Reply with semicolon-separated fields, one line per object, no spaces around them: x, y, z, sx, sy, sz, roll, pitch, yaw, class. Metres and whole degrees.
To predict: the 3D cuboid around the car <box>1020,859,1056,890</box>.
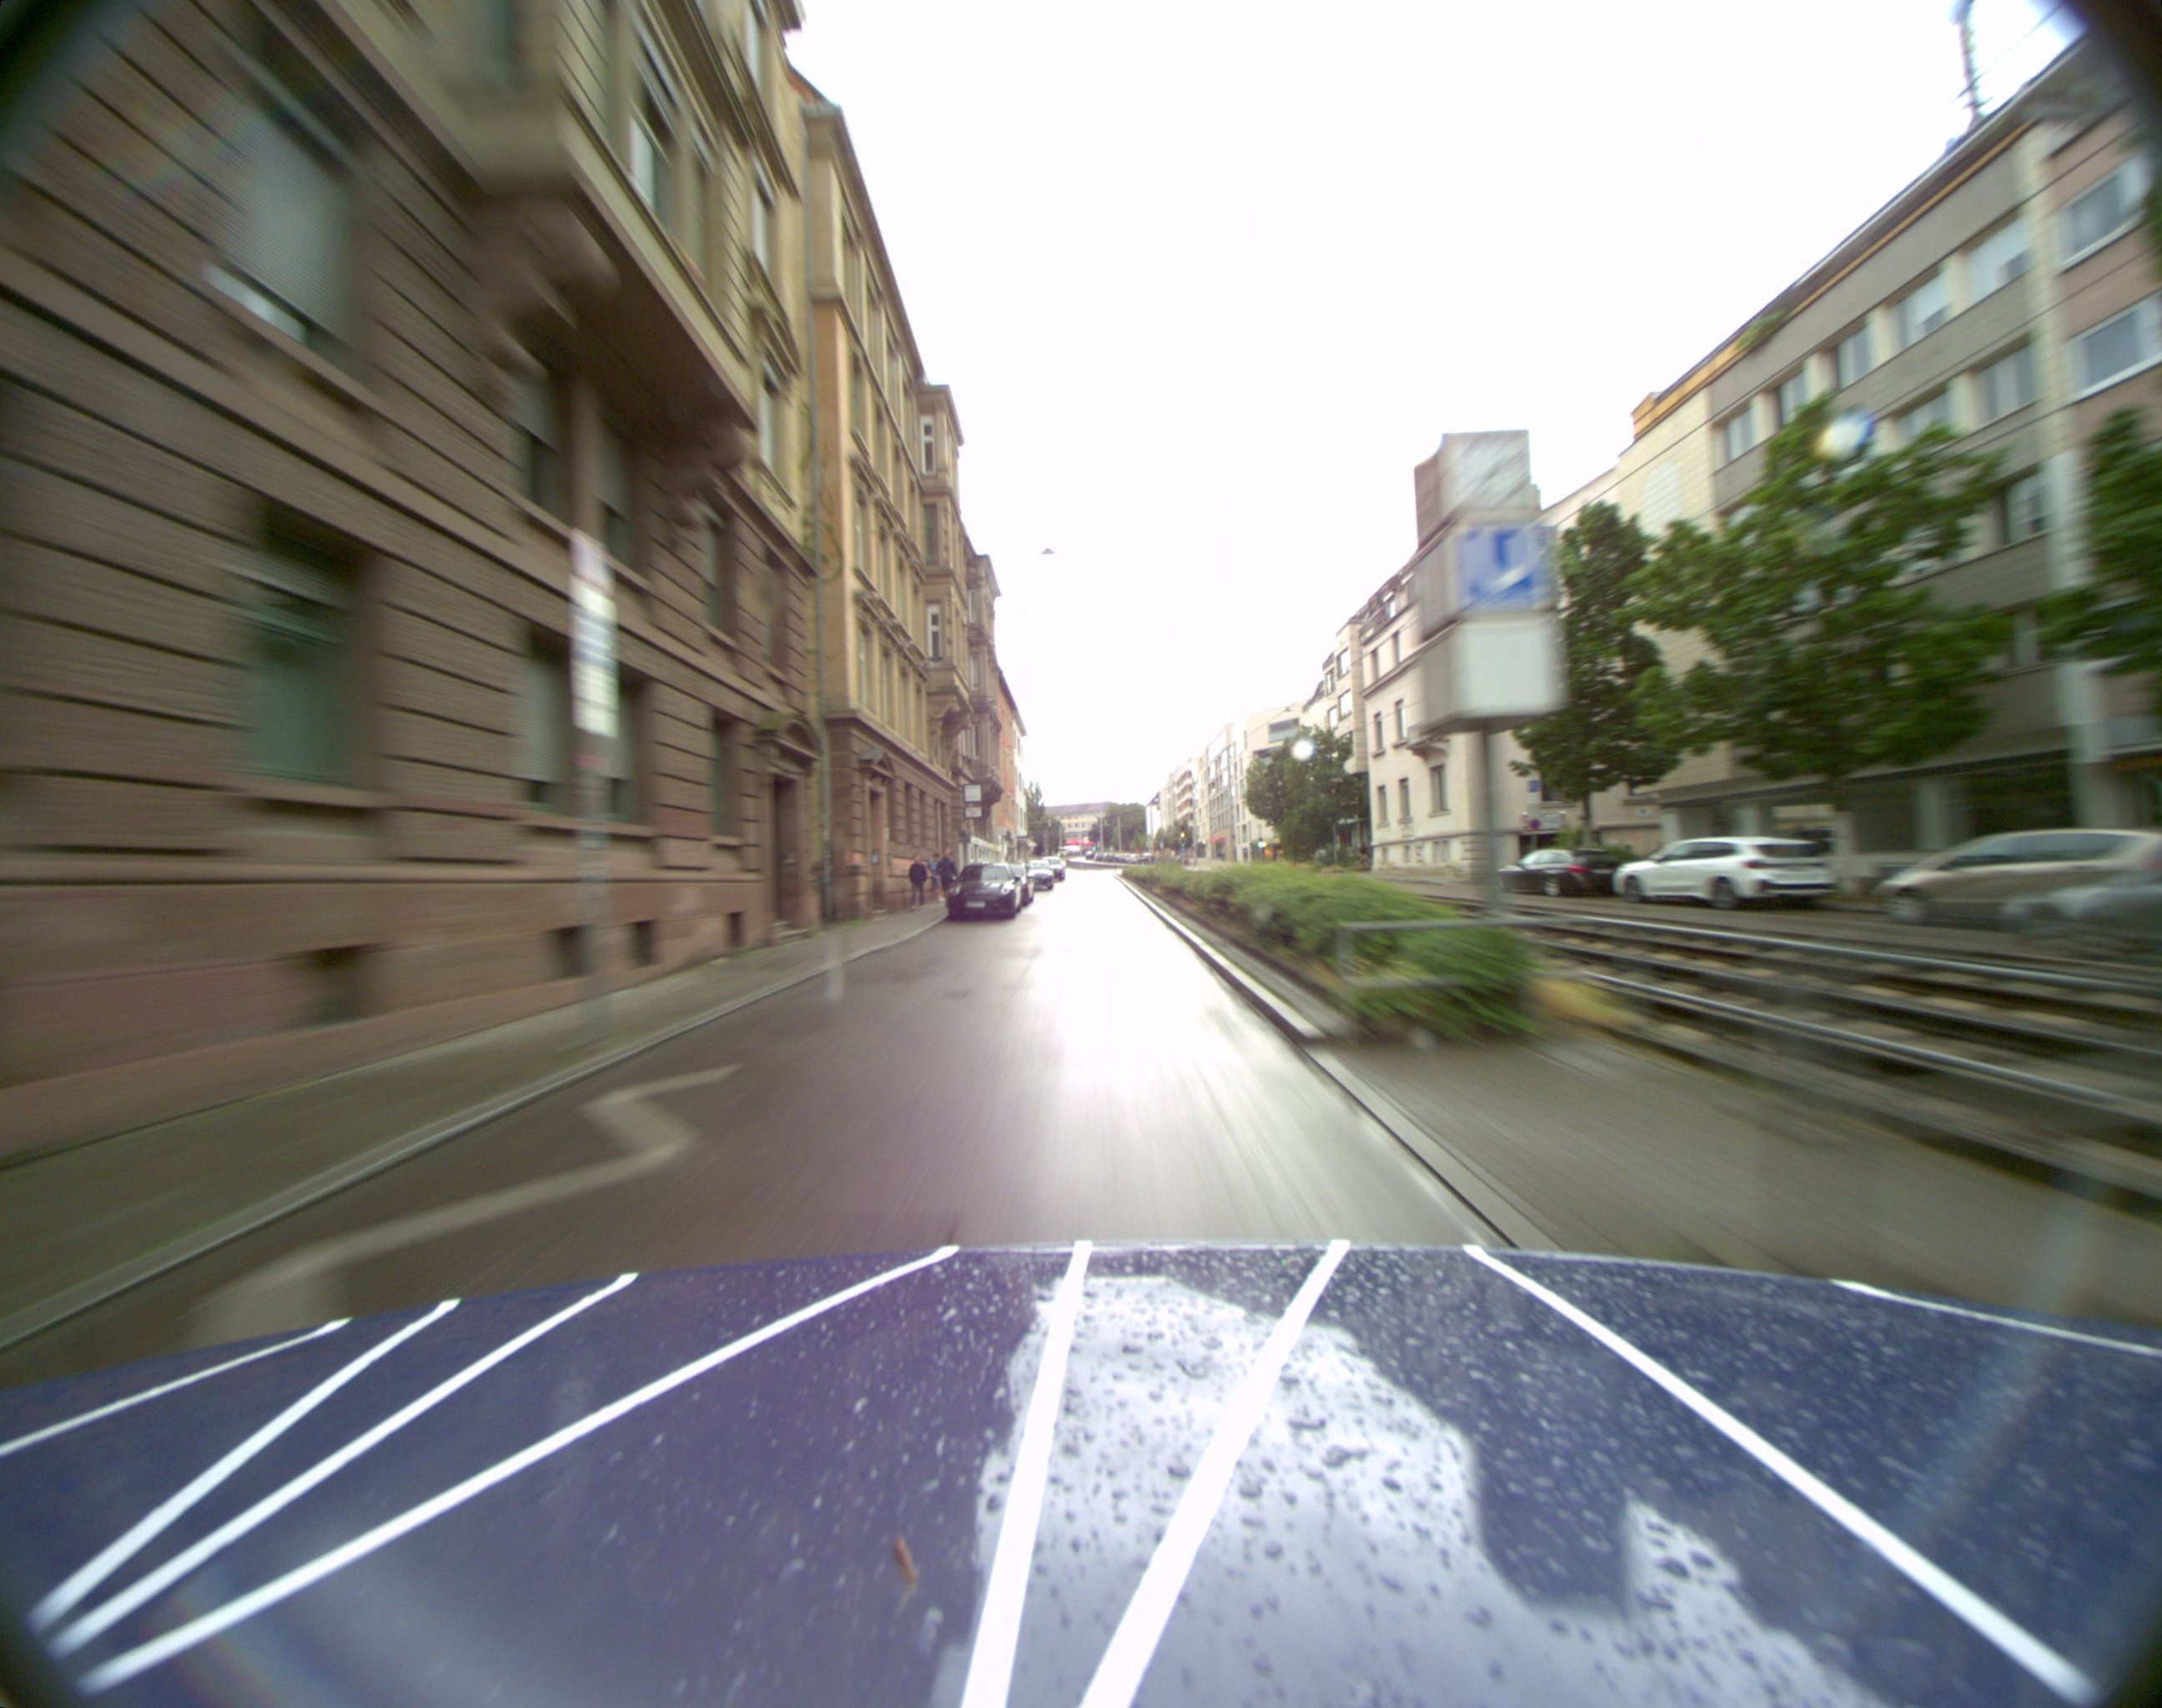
-2.092;0.984;37.687;1.588;1.343;3.977;-2;0;-1;car

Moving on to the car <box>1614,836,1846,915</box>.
14.853;0.421;17.771;1.662;1.575;4.337;-2;0;-1;car

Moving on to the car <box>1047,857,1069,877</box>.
-1.793;0.996;60.453;1.588;1.442;3.977;-2;0;0;car

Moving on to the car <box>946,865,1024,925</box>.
-2.486;1.018;20.418;1.628;1.343;3.829;-2;0;-1;car

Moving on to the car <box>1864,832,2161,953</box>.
14.723;0.469;11.500;1.642;1.529;4.022;-2;0;1;car

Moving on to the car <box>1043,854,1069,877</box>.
-1.702;0.784;52.210;1.588;1.442;3.977;-2;0;0;car

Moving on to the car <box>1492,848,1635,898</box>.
14.847;0.526;23.712;1.718;1.367;4.457;-2;0;2;car

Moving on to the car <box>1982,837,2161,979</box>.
12.057;0.560;7.511;1.642;1.454;3.963;-2;0;1;car

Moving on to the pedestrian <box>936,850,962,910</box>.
-4.010;0.775;23.111;0.653;1.752;0.882;-1;1;-3;pedestrian

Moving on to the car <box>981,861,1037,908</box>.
-2.423;1.008;26.403;1.588;1.405;3.829;-2;0;-1;car

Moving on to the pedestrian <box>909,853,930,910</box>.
-4.740;0.805;22.324;0.489;1.635;0.631;-1;1;-3;pedestrian

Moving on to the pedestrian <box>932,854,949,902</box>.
-4.905;0.835;26.529;0.485;1.635;0.463;-1;1;-3;pedestrian
